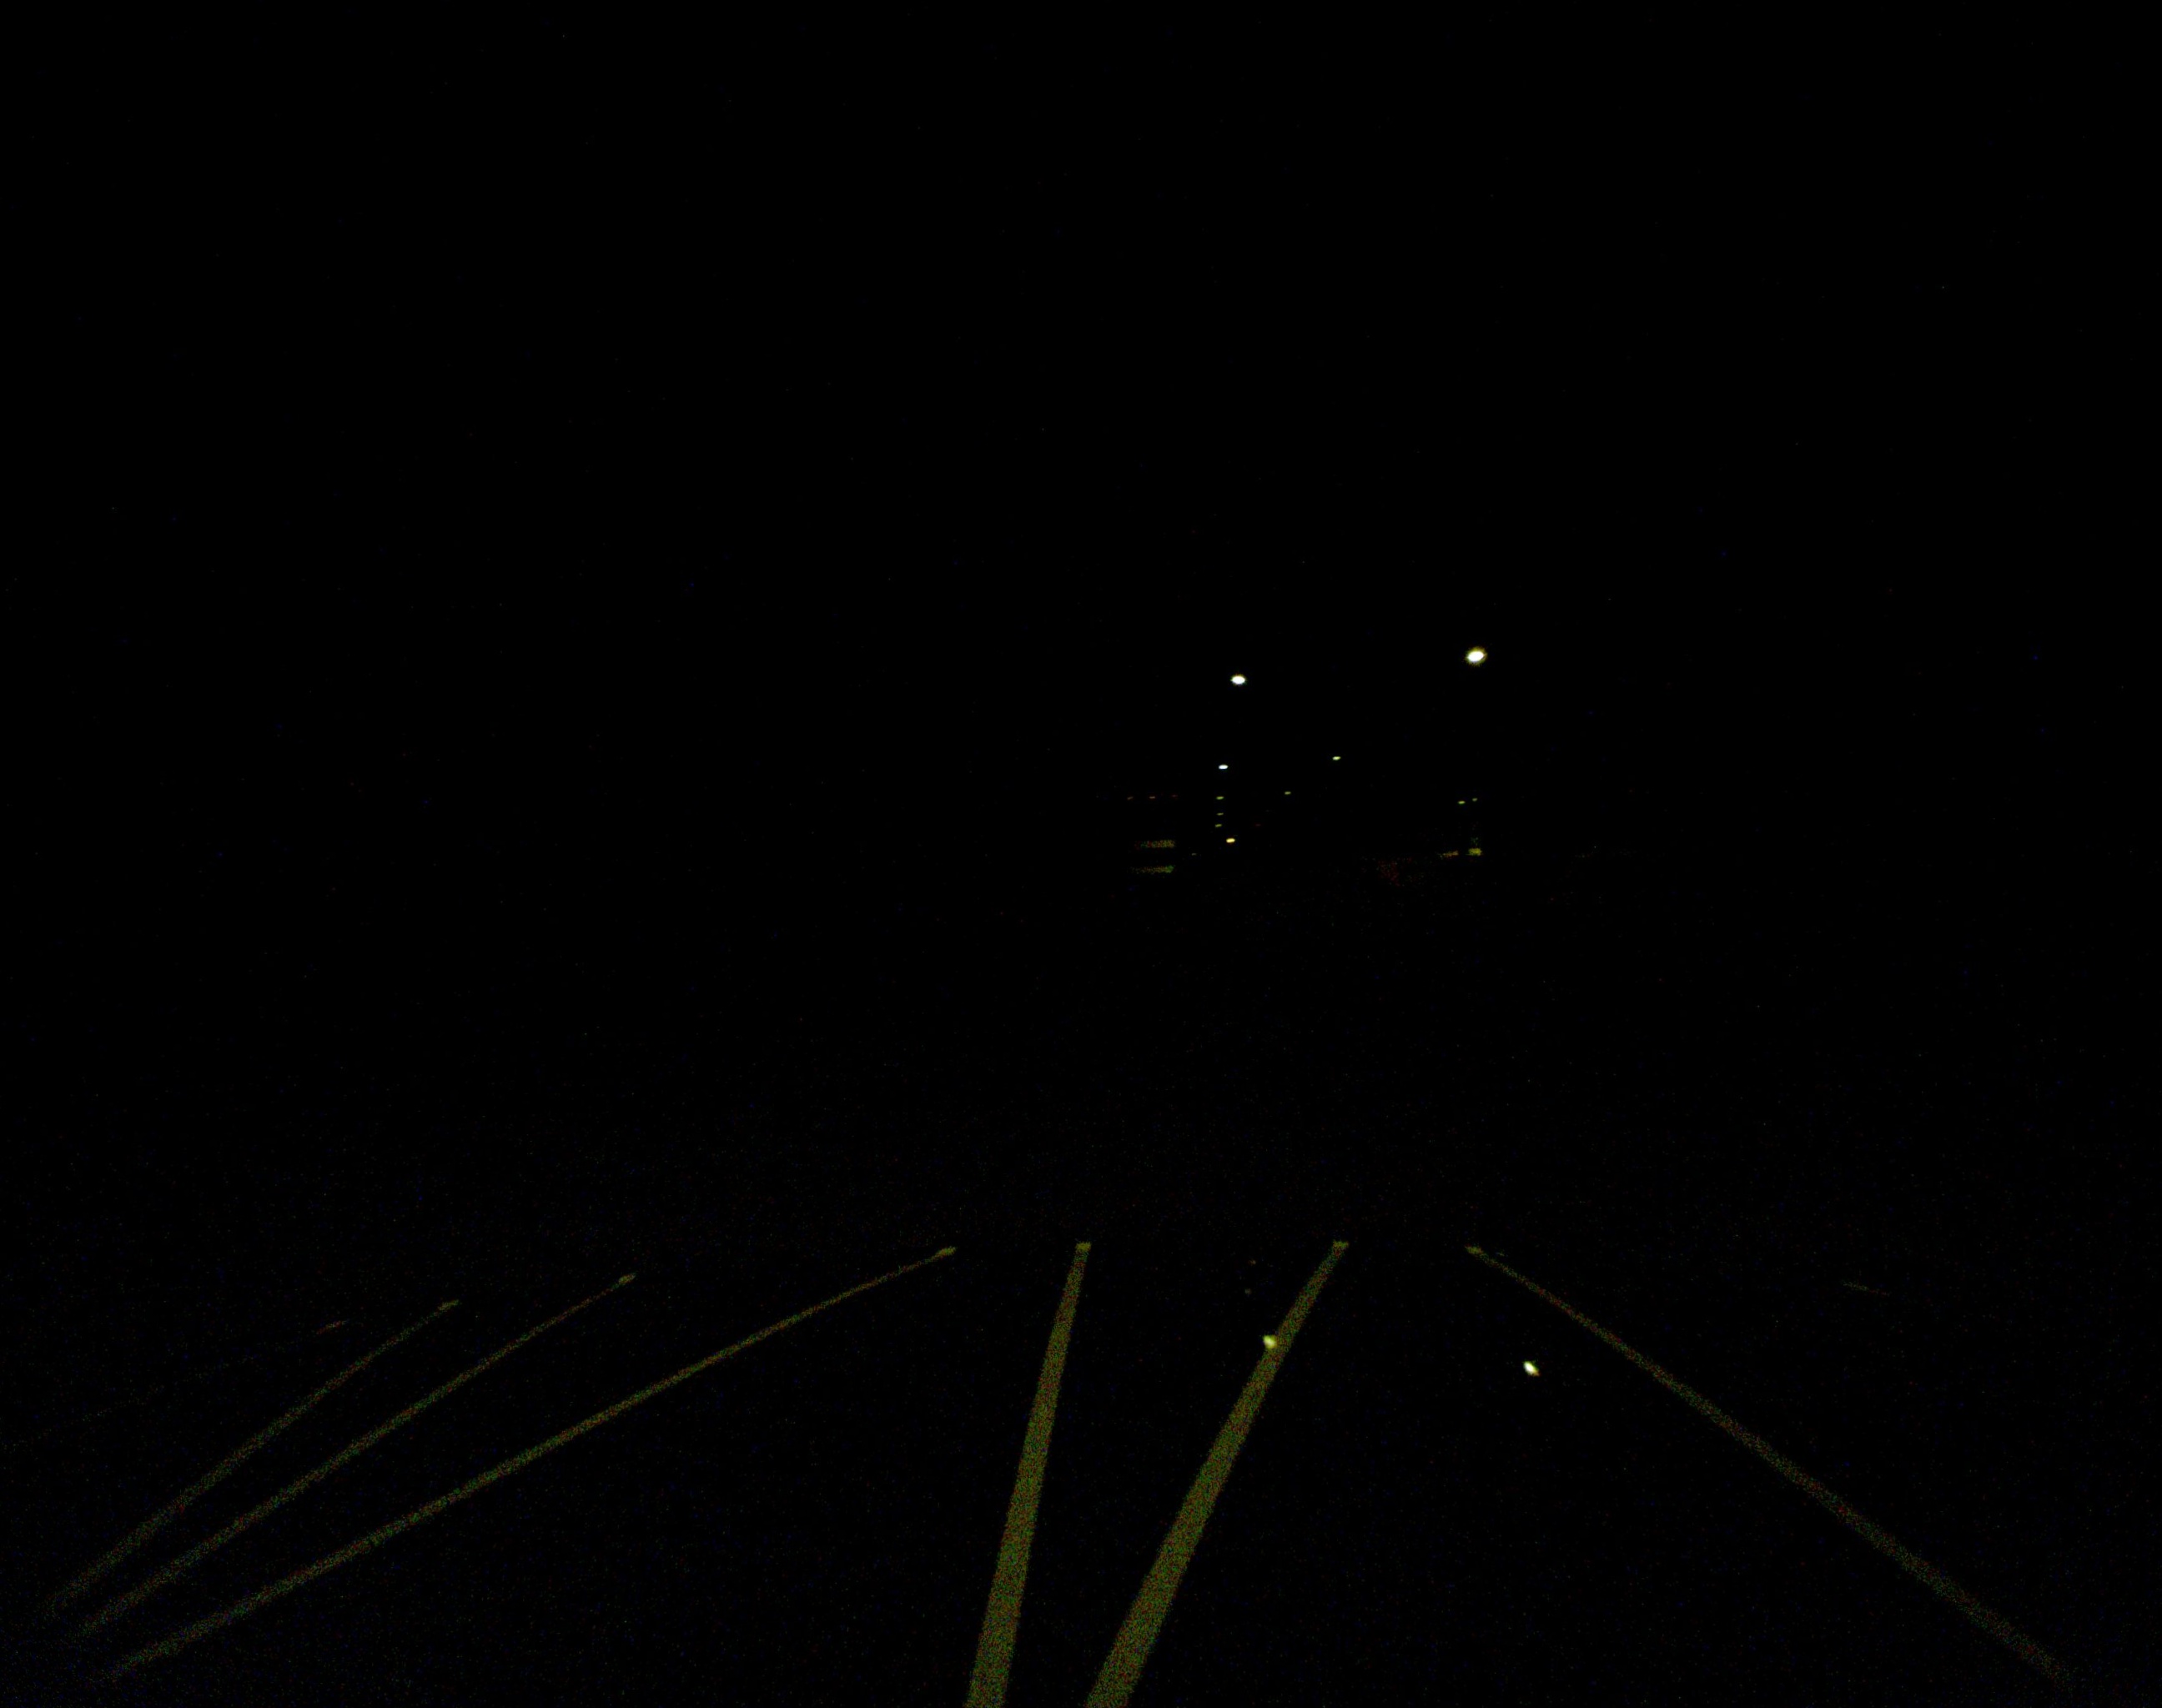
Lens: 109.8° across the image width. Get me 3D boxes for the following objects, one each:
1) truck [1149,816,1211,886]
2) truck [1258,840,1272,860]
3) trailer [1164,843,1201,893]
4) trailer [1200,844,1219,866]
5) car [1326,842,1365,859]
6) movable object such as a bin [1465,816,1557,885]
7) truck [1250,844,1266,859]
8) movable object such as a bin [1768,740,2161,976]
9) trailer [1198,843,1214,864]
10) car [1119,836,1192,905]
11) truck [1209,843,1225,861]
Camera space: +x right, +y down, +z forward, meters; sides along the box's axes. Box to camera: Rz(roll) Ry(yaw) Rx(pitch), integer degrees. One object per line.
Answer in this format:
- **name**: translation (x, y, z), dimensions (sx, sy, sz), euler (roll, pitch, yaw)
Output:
- **truck**: translation (6.553, -0.205, 49.054), dimensions (3.330, 3.845, 9.334), euler (-4, 0, 10)
- **truck**: translation (41.767, -1.043, 172.736), dimensions (2.642, 4.290, 12.834), euler (-1, 1, 13)
- **trailer**: translation (5.539, 0.712, 41.040), dimensions (1.635, 2.459, 5.032), euler (-4, -1, 10)
- **trailer**: translation (16.357, 0.086, 96.328), dimensions (1.997, 2.635, 4.004), euler (-4, -1, 13)
- **car**: translation (34.496, -0.446, 99.244), dimensions (4.440, 1.960, 2.002), euler (-4, 0, 10)
- **movable object such as a bin**: translation (16.219, -0.133, 28.810), dimensions (1.553, 2.453, 2.837), euler (-2, 1, -10)
- **truck**: translation (46.540, -0.683, 200.201), dimensions (2.827, 3.610, 10.407), euler (-4, -1, 7)
- **movable object such as a bin**: translation (11.988, 0.068, 10.631), dimensions (1.574, 2.718, 3.702), euler (0, 0, 4)
- **trailer**: translation (21.596, -0.064, 131.370), dimensions (2.403, 3.306, 4.365), euler (-4, -1, 7)
- **car**: translation (3.251, 0.630, 31.713), dimensions (2.112, 2.501, 6.378), euler (-4, -1, 13)
- **truck**: translation (32.047, -0.462, 178.346), dimensions (2.513, 3.814, 12.672), euler (-4, -1, 15)
